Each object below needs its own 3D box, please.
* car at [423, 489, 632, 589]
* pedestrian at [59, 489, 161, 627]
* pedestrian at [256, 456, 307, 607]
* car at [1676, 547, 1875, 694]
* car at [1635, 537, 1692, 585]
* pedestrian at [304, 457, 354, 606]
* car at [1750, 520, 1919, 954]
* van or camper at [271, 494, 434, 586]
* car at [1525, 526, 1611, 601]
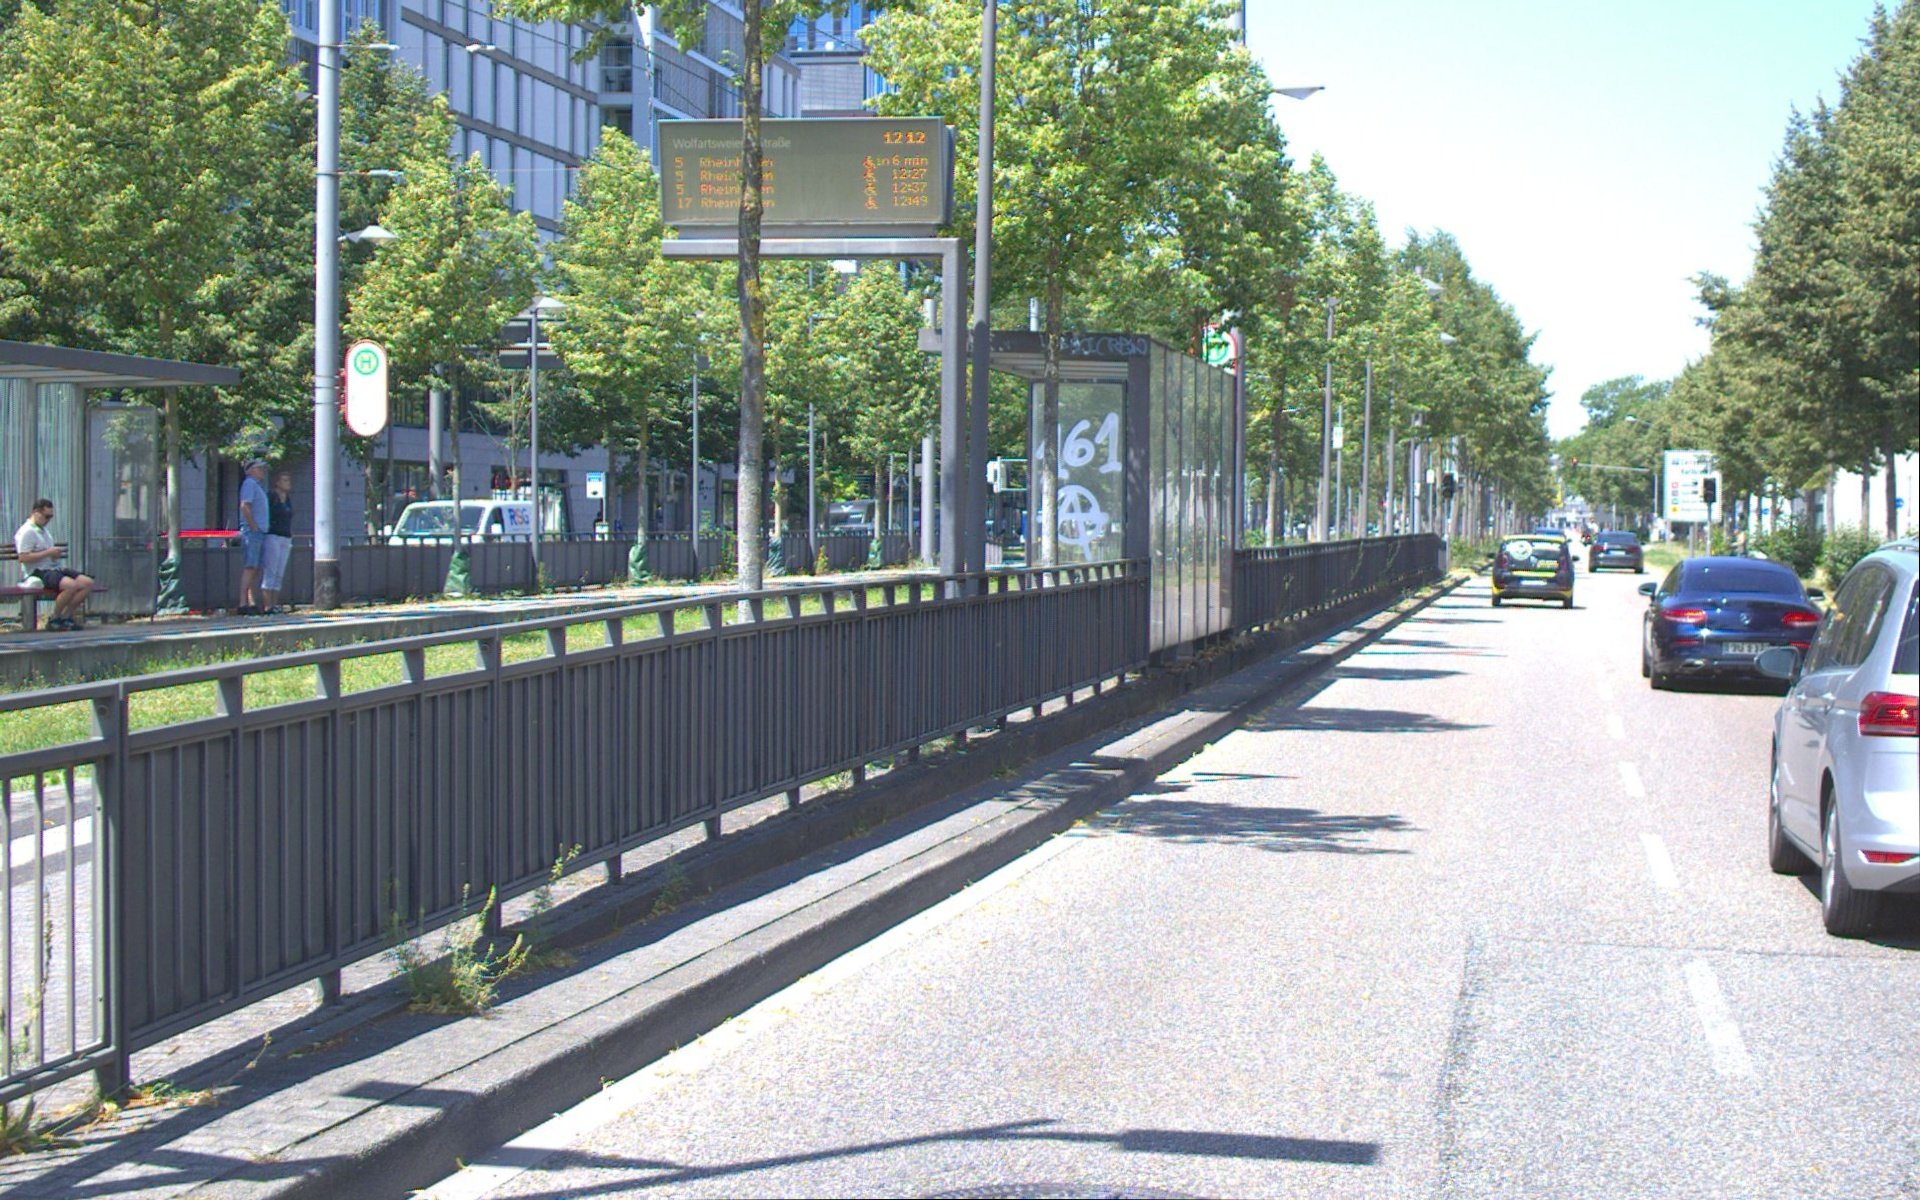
[{"bbox_3d":[-8.139,-1.159,65.249,2.463,1.800,5.068,1,1,11],"label":"car"},{"bbox_3d":[-8.809,-0.434,35.642,0.835,1.408,0.642,1,1,10],"label":"pedestrian"},{"bbox_3d":[-7.938,-0.802,40.230,0.409,1.746,0.586,1,1,8],"label":"pedestrian"},{"bbox_3d":[8.638,0.162,36.737,1.853,1.431,4.953,1,1,11],"label":"car"},{"bbox_3d":[24.499,-1.371,119.772,1.766,1.621,3.714,1,1,9],"label":"car"},{"bbox_3d":[-7.496,-0.812,40.821,0.409,1.746,0.586,1,1,8],"label":"pedestrian"},{"bbox_3d":[4.657,0.537,15.252,1.801,1.643,4.603,2,1,8],"label":"car"},{"bbox_3d":[-9.840,-0.979,55.892,1.476,1.422,3.427,1,1,10],"label":"van or camper"},{"bbox_3d":[12.249,-0.714,69.097,1.619,1.446,3.984,1,0,11],"label":"car"}]
